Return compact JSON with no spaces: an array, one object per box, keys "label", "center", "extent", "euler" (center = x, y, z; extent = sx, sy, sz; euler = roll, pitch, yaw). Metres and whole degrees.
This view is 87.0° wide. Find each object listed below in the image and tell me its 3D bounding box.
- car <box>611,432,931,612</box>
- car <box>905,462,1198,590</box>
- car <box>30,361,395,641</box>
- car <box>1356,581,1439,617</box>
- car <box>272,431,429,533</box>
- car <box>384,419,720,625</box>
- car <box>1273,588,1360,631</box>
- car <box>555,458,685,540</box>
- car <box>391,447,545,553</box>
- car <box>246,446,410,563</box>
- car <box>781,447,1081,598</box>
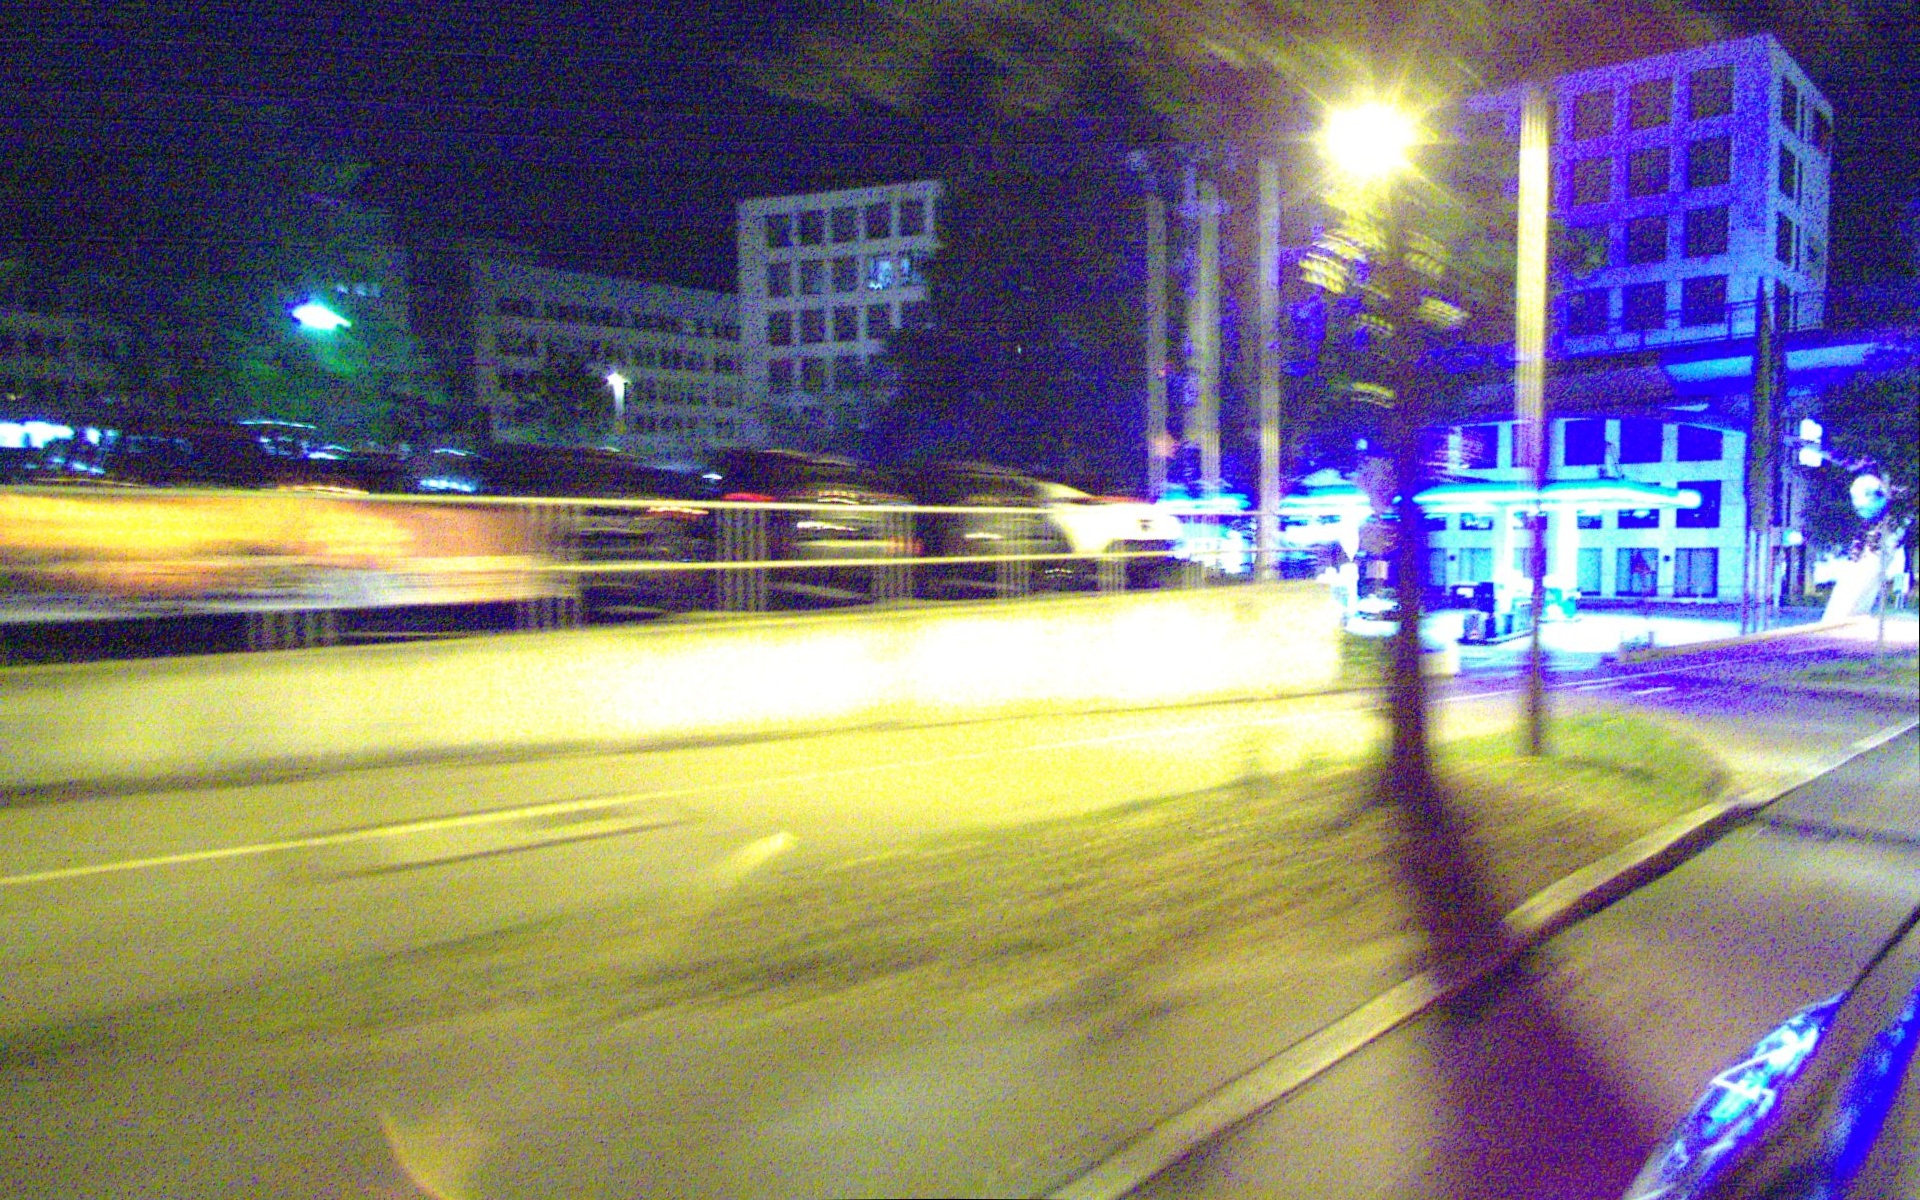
[{"label":"car","center":[-2.201,-0.900,11.073],"extent":[1.751,1.605,3.755],"euler":[-3,7,-42]},{"label":"car","center":[1.148,-1.072,14.385],"extent":[1.790,1.540,4.131],"euler":[-3,6,-39]},{"label":"car","center":[-5.753,-0.720,7.643],"extent":[1.699,1.588,3.565],"euler":[-3,6,-45]},{"label":"car","center":[19.200,-0.092,44.368],"extent":[1.928,1.379,4.266],"euler":[2,4,45]},{"label":"car","center":[-13.249,-2.457,21.885],"extent":[1.967,1.933,4.582],"euler":[-3,5,-43]},{"label":"car","center":[-3.922,-0.733,9.410],"extent":[1.713,1.506,3.731],"euler":[-3,6,-42]},{"label":"car","center":[13.417,0.310,37.961],"extent":[1.652,1.375,4.007],"euler":[1,3,43]},{"label":"car","center":[-8.749,-2.567,25.912],"extent":[1.724,1.917,3.815],"euler":[-3,6,-43]},{"label":"car","center":[-9.340,-1.909,19.031],"extent":[1.719,1.745,4.375],"euler":[-2,7,-38]},{"label":"car","center":[-10.662,-1.603,16.966],"extent":[1.787,1.709,3.998],"euler":[-2,6,-40]},{"label":"car","center":[-0.525,-0.990,12.756],"extent":[1.708,1.589,3.998],"euler":[-2,6,-39]}]
